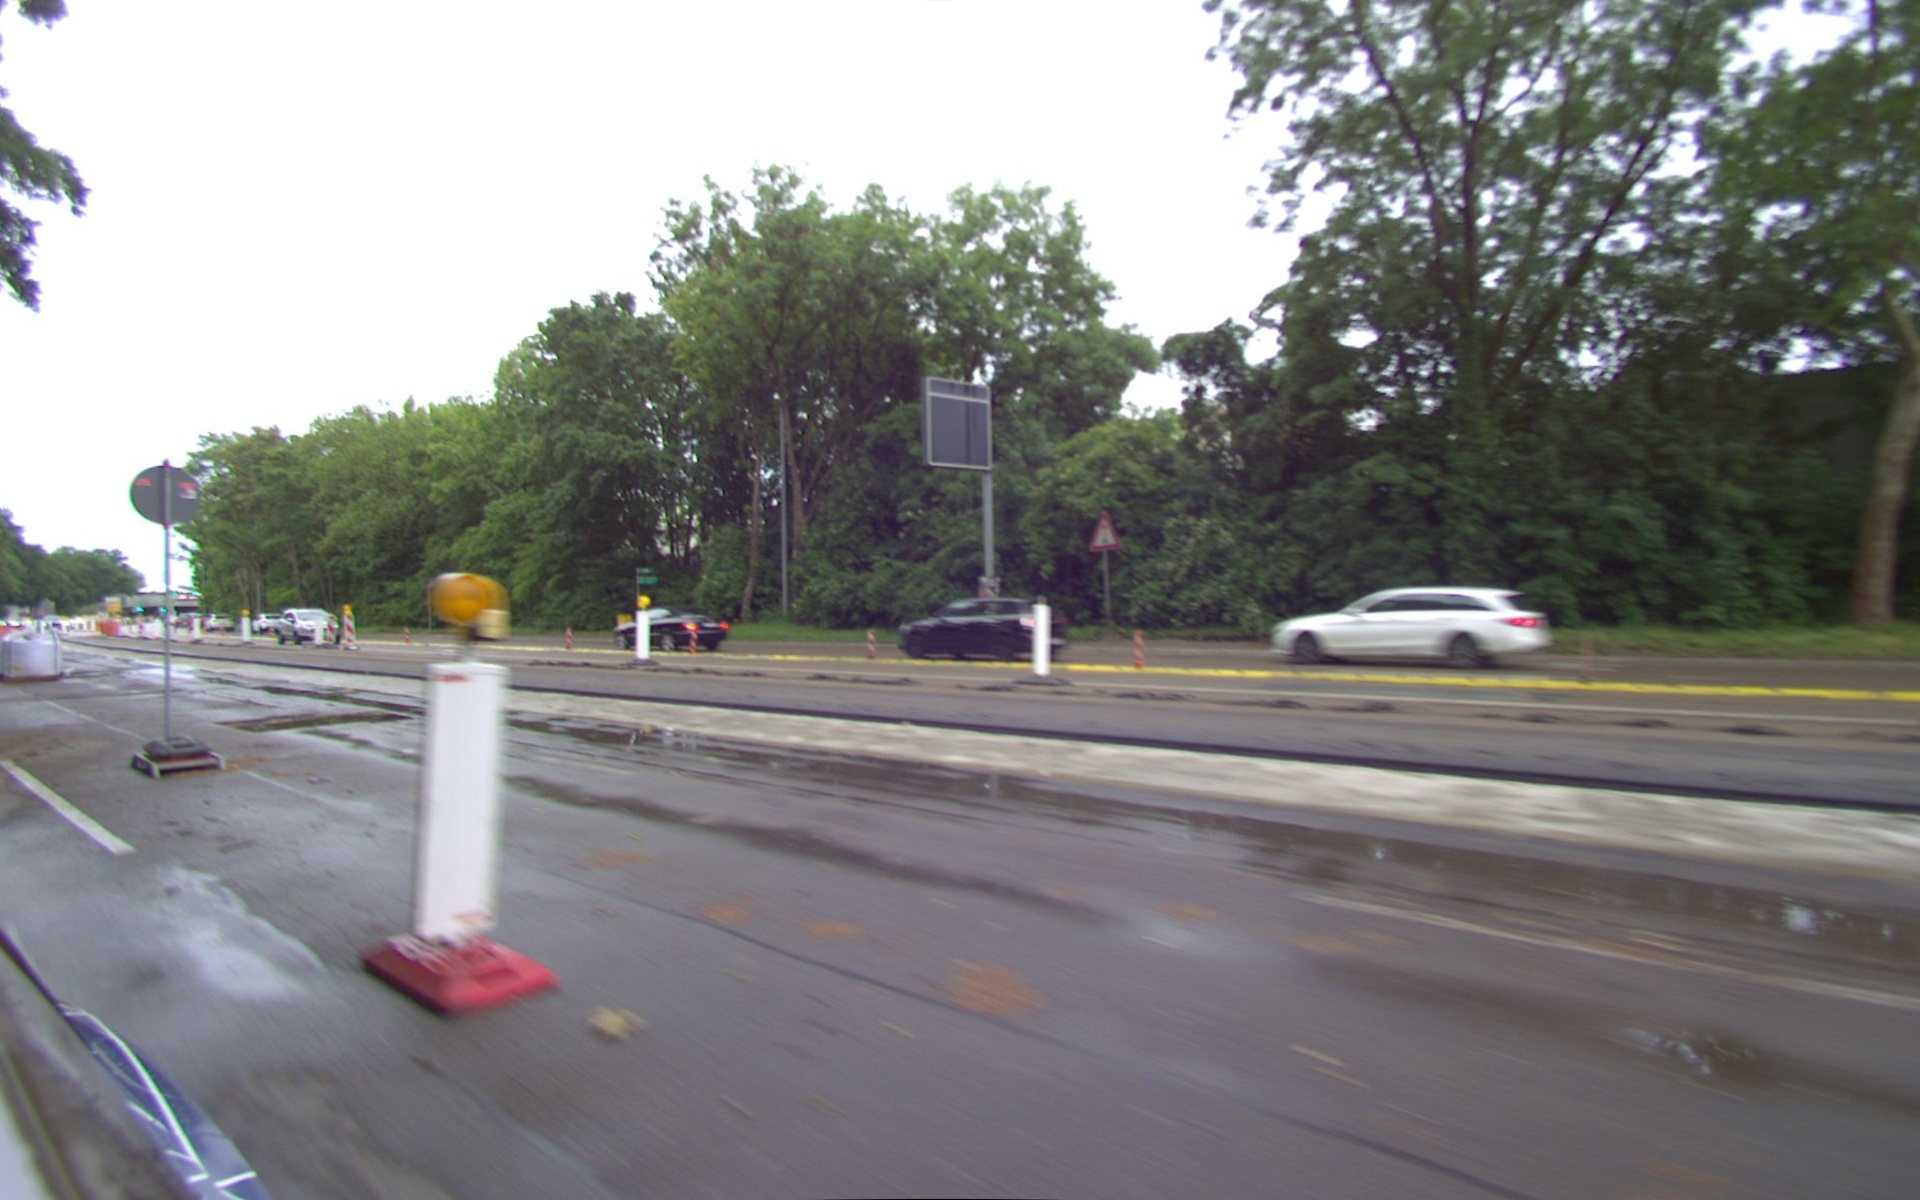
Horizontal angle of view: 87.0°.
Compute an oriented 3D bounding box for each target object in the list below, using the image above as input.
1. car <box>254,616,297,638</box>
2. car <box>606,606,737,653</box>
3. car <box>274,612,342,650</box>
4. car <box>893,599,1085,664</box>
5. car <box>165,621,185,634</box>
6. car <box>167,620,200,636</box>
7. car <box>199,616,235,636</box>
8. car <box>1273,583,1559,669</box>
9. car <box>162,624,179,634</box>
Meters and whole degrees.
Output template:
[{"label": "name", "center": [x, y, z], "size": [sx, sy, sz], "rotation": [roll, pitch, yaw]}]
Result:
[{"label": "car", "center": [-50.468, 1.983, 74.598], "size": [4.157, 1.553, 1.648], "rotation": [-2, -3, 42]}, {"label": "car", "center": [-9.056, 0.936, 31.593], "size": [4.386, 1.366, 1.799], "rotation": [-2, -2, 40]}, {"label": "car", "center": [-29.437, 1.391, 45.663], "size": [3.863, 1.596, 1.769], "rotation": [-2, 0, 45]}, {"label": "car", "center": [0.598, 0.721, 23.141], "size": [4.201, 1.366, 1.799], "rotation": [-2, -2, 40]}, {"label": "car", "center": [-96.403, 3.358, 124.256], "size": [1.762, 1.463, 4.689], "rotation": [0, -1, -40]}, {"label": "car", "center": [-79.183, 2.855, 103.136], "size": [4.913, 1.676, 1.758], "rotation": [-2, -2, 41]}, {"label": "car", "center": [-68.435, 2.379, 93.155], "size": [4.378, 1.764, 1.758], "rotation": [-2, -1, 41]}, {"label": "car", "center": [8.512, 0.480, 19.136], "size": [4.599, 1.430, 1.799], "rotation": [-2, 0, 40]}, {"label": "car", "center": [-114.200, 4.143, 146.322], "size": [1.761, 1.437, 4.476], "rotation": [0, -1, -40]}]
